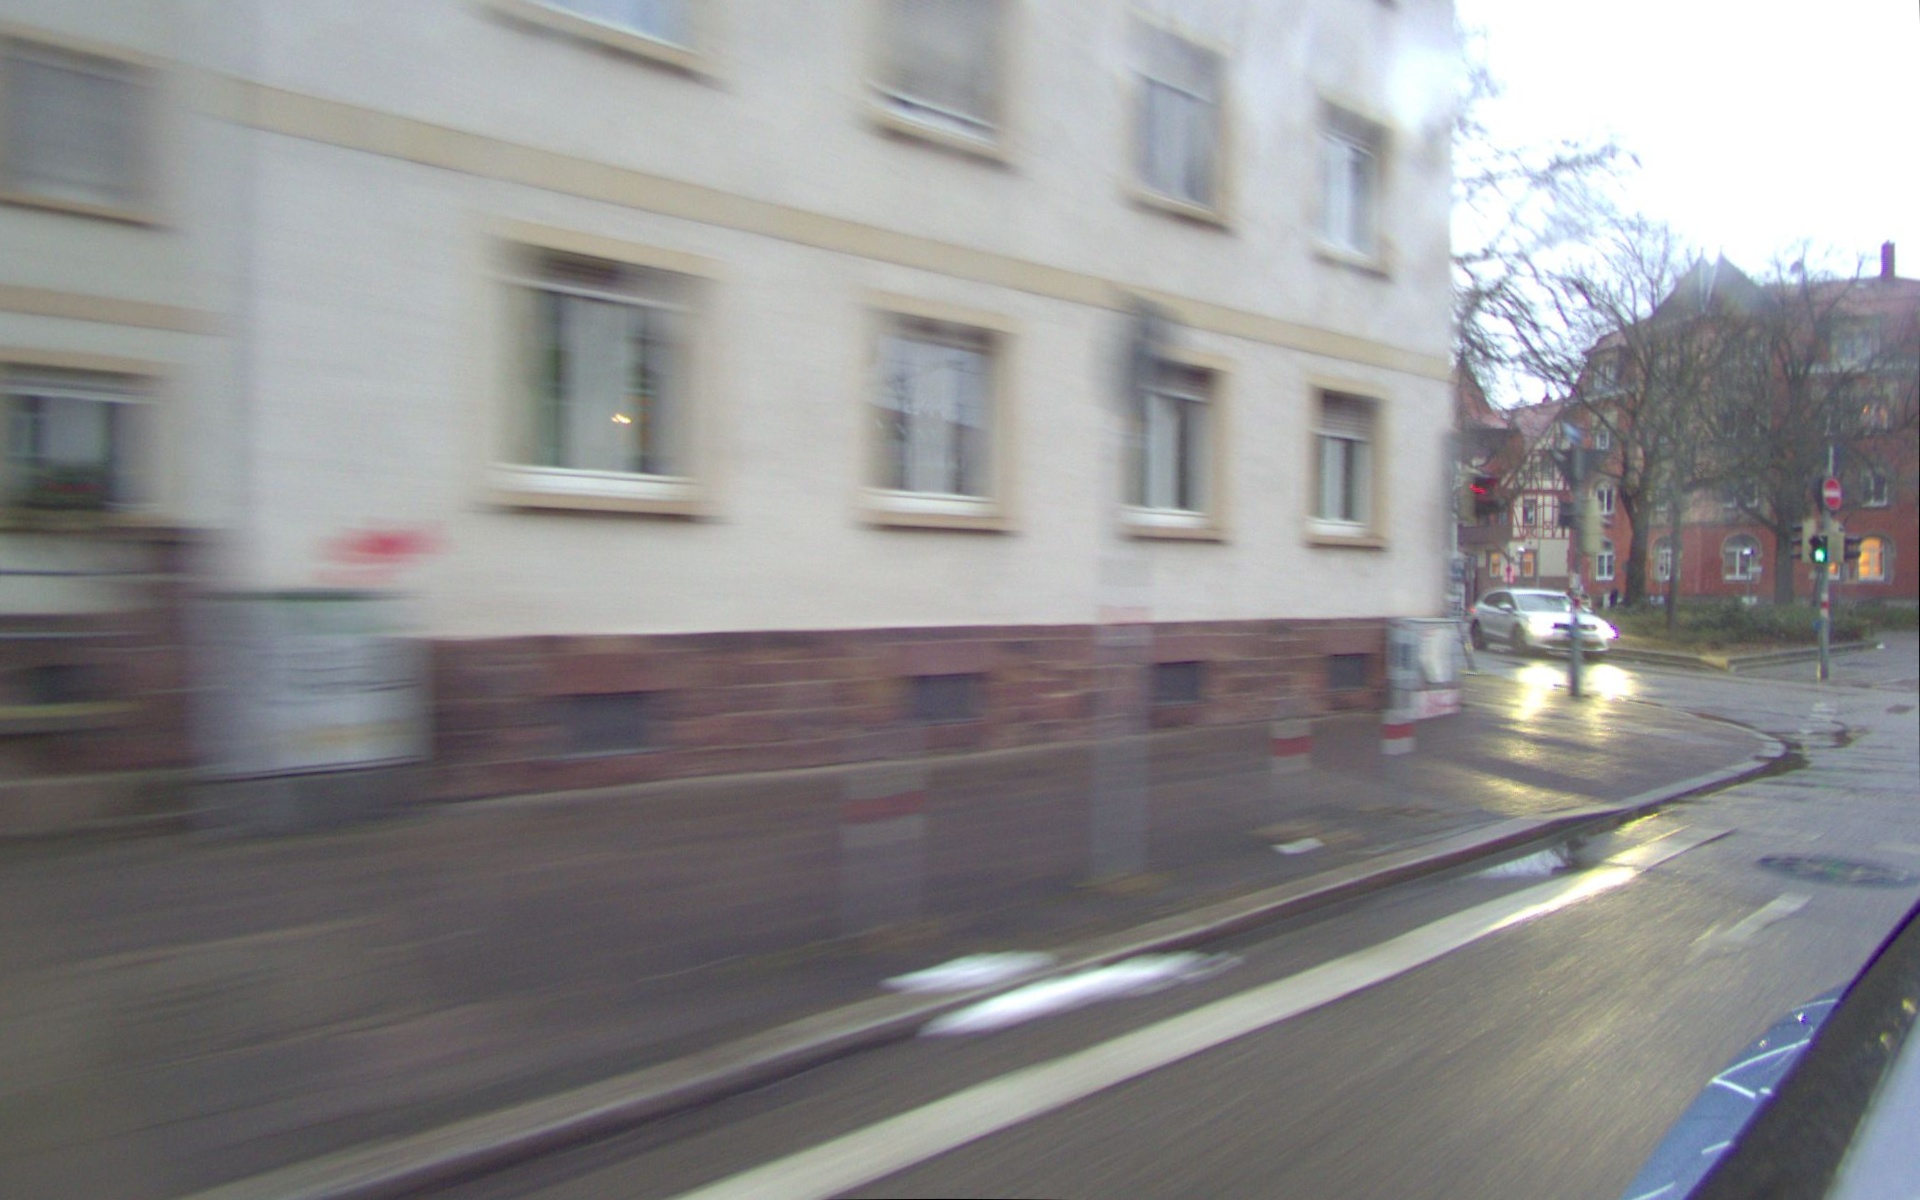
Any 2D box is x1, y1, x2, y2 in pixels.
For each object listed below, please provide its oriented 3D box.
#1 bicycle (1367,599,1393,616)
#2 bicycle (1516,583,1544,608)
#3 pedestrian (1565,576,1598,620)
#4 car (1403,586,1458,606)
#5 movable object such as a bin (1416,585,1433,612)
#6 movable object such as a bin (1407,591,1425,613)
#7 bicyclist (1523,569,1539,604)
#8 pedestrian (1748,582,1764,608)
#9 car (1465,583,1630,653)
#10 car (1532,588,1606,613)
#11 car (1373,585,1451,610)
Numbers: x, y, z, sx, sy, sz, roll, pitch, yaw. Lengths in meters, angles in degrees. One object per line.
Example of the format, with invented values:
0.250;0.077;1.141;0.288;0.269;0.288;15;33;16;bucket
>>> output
19.560;0.340;47.128;1.559;0.775;0.339;-1;0;-36;bicycle
31.026;-0.241;55.062;1.877;1.307;0.468;-1;0;-33;bicycle
26.846;-0.094;43.725;0.798;1.887;0.879;-1;0;-6;pedestrian
35.269;-0.312;76.002;1.613;1.415;4.008;0;0;-13;car
21.380;-0.069;46.593;0.640;1.244;0.527;-1;0;-45;movable object such as a bin
20.811;0.075;46.193;0.640;0.993;0.527;-1;0;-45;movable object such as a bin
31.117;-0.727;55.121;0.666;1.910;0.468;-1;0;-33;bicyclist
42.024;-0.271;53.406;0.598;1.333;0.545;1;-2;-45;pedestrian
14.391;0.359;25.129;1.868;1.529;4.744;0;1;8;car
37.729;-0.002;62.823;1.613;1.514;4.008;0;0;-13;car
27.623;-0.163;61.973;3.920;1.504;1.852;-1;0;-4;car
